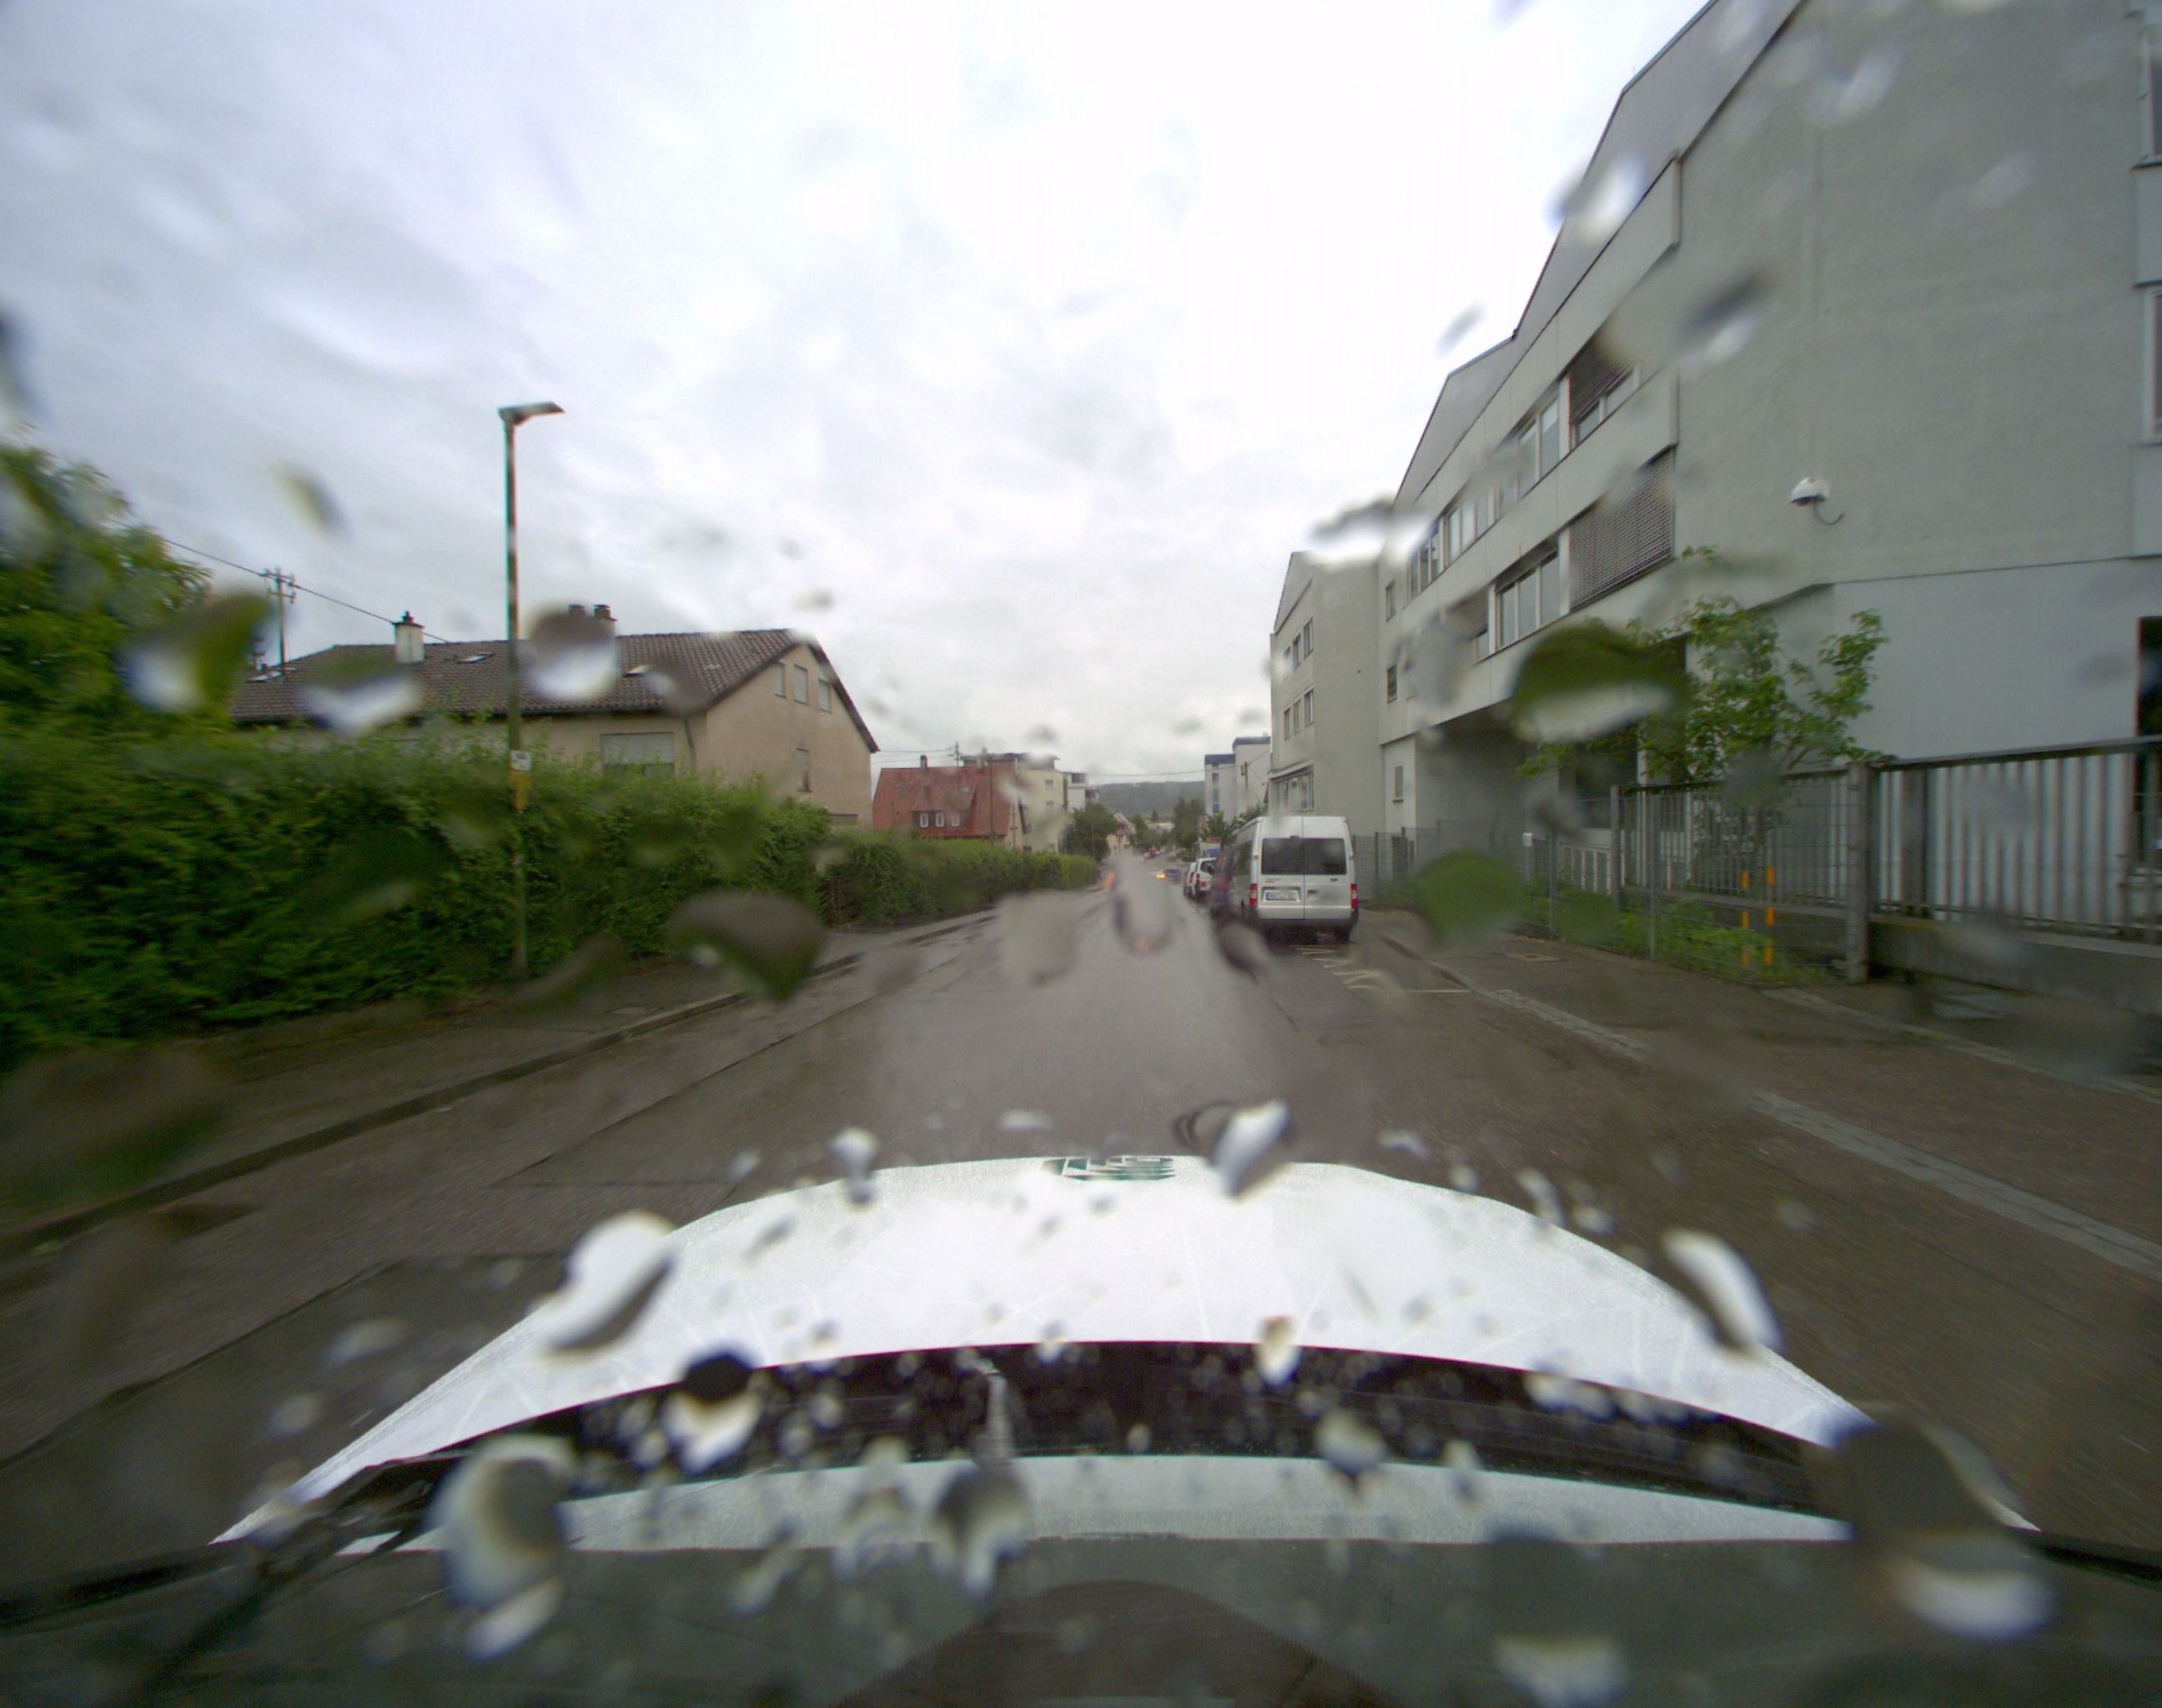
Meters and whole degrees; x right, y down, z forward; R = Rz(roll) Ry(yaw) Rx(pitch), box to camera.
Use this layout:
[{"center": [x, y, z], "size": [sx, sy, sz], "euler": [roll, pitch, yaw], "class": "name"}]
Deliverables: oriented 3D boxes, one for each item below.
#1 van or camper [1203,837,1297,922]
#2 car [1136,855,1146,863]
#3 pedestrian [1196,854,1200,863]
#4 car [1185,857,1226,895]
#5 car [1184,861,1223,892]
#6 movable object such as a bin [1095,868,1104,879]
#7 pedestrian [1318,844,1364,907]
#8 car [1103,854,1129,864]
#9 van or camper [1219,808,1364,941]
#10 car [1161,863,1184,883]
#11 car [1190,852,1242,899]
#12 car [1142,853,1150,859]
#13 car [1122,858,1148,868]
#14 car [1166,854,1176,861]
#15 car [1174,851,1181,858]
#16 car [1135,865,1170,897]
[{"center": [4.714, 0.673, 23.460], "size": [1.984, 2.113, 5.210], "euler": [-2, -1, 5], "class": "van or camper"}, {"center": [13.234, 1.070, 179.250], "size": [1.983, 1.625, 4.199], "euler": [-3, 0, 6], "class": "car"}, {"center": [21.590, 0.910, 150.199], "size": [0.645, 1.647, 0.526], "euler": [1, 0, -1], "class": "pedestrian"}, {"center": [6.441, 1.140, 42.405], "size": [1.869, 1.834, 4.496], "euler": [-2, -1, 6], "class": "car"}, {"center": [7.116, 1.296, 47.696], "size": [1.983, 1.644, 4.966], "euler": [-2, -1, 6], "class": "car"}, {"center": [2.230, 2.334, 99.356], "size": [1.067, 1.347, 1.320], "euler": [0, -1, 4], "class": "movable object such as a bin"}, {"center": [7.681, 0.619, 24.134], "size": [1.019, 1.758, 1.032], "euler": [-3, 0, 3], "class": "pedestrian"}, {"center": [6.846, 0.948, 160.085], "size": [4.862, 1.835, 1.979], "euler": [-3, 0, -33], "class": "car"}, {"center": [4.124, 0.384, 16.920], "size": [1.984, 2.243, 5.448], "euler": [-2, -1, 5], "class": "van or camper"}, {"center": [8.989, 1.858, 80.091], "size": [1.985, 1.684, 4.005], "euler": [-3, 0, 4], "class": "car"}, {"center": [6.008, 0.943, 36.734], "size": [1.983, 1.935, 4.984], "euler": [-2, -1, 6], "class": "car"}, {"center": [17.332, 0.570, 215.551], "size": [1.891, 1.558, 4.199], "euler": [-3, 0, 6], "class": "car"}, {"center": [8.688, 1.531, 131.455], "size": [1.900, 1.525, 3.955], "euler": [-2, 0, -37], "class": "car"}, {"center": [21.287, 0.778, 192.367], "size": [2.135, 1.589, 4.136], "euler": [-3, 0, 6], "class": "car"}, {"center": [25.365, 0.194, 213.792], "size": [1.891, 1.745, 4.199], "euler": [-3, 0, 6], "class": "car"}, {"center": [4.394, 1.643, 50.508], "size": [1.985, 1.684, 4.005], "euler": [-3, 0, 4], "class": "car"}]
